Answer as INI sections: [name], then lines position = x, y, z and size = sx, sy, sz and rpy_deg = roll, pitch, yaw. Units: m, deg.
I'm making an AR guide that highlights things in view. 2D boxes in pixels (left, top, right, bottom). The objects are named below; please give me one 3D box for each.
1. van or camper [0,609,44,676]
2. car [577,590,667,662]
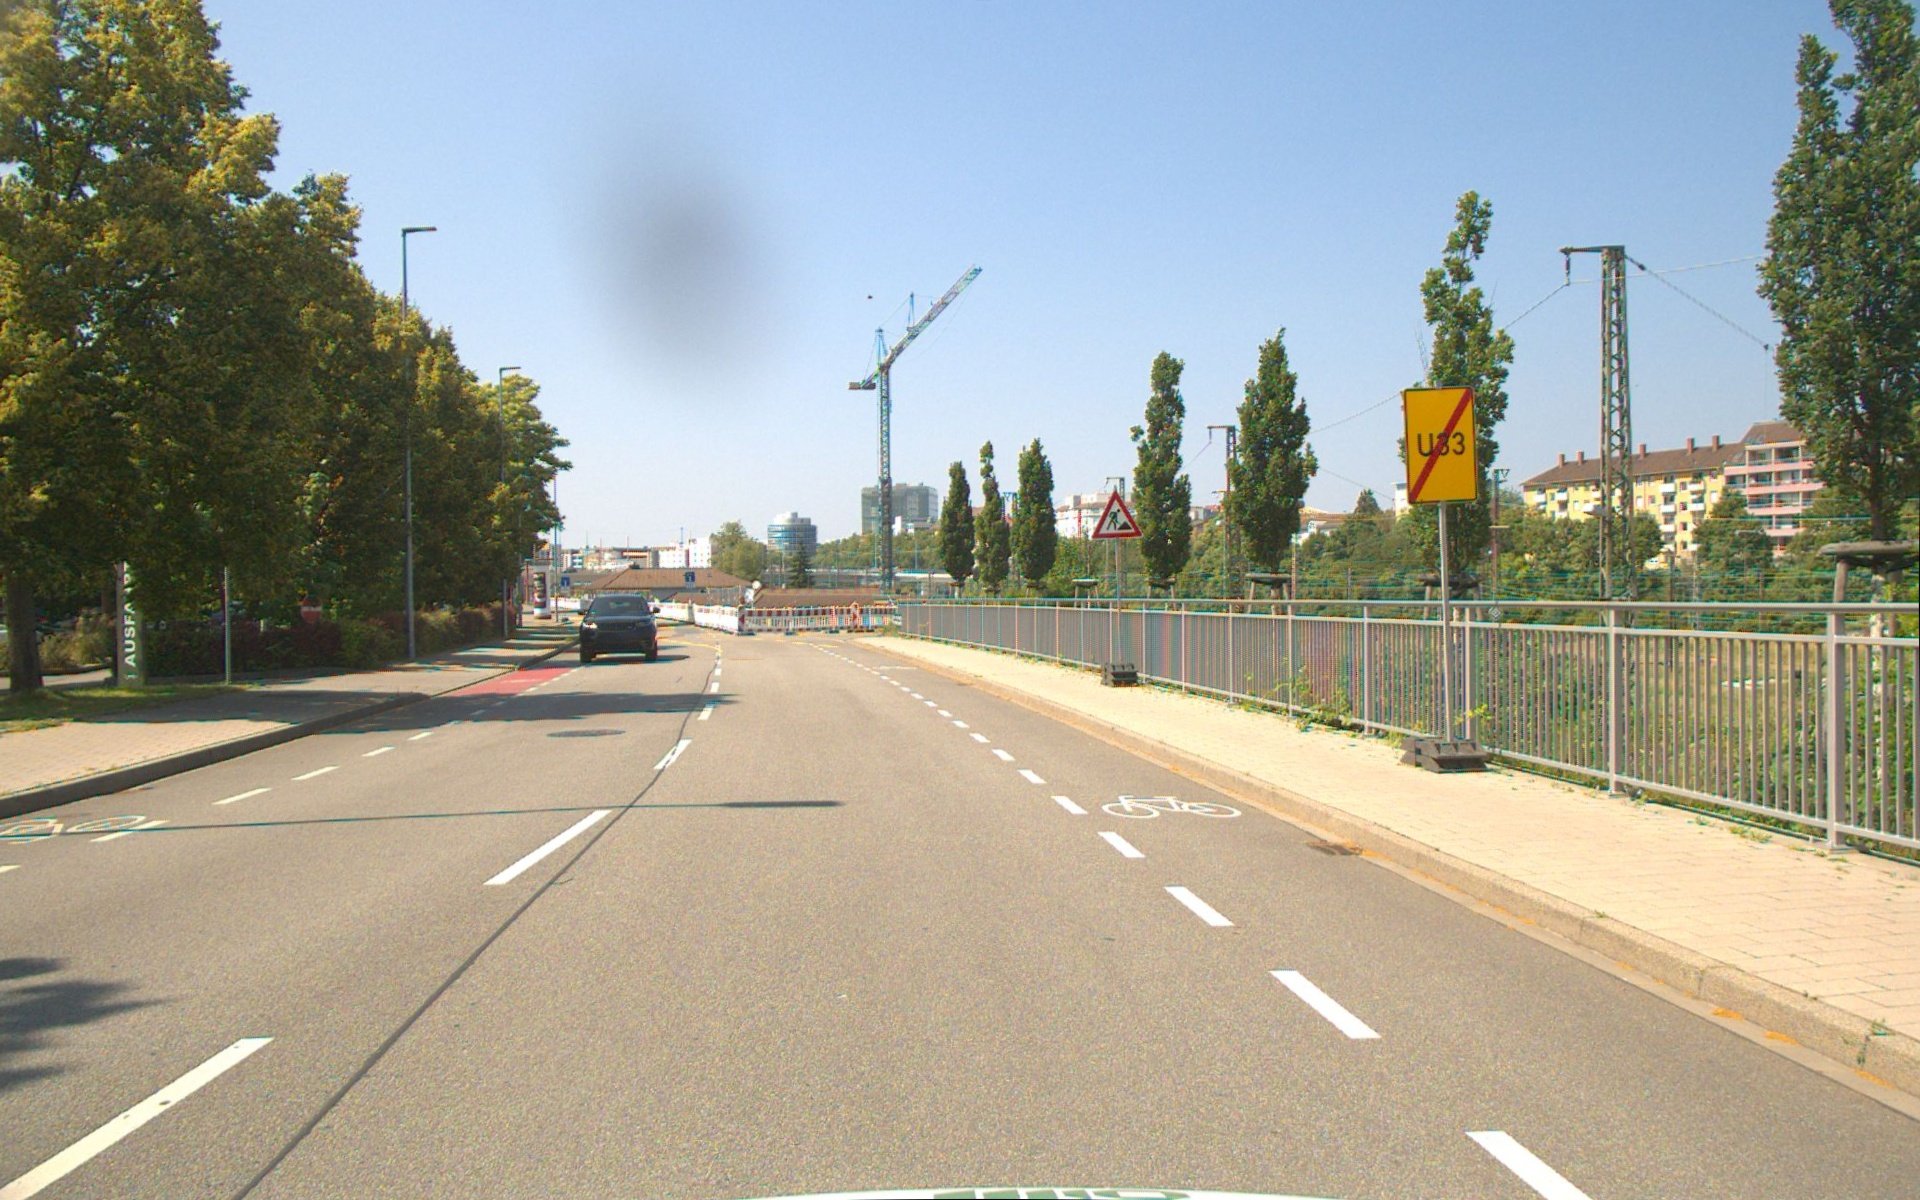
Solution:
[van or camper]
position = -27.702, 1.205, 45.524
size = 4.219, 1.770, 1.983
rpy_deg = -2, 1, -27
[car]
position = -8.873, 0.636, 43.122
size = 1.919, 1.725, 4.592
rpy_deg = -1, 1, -16
